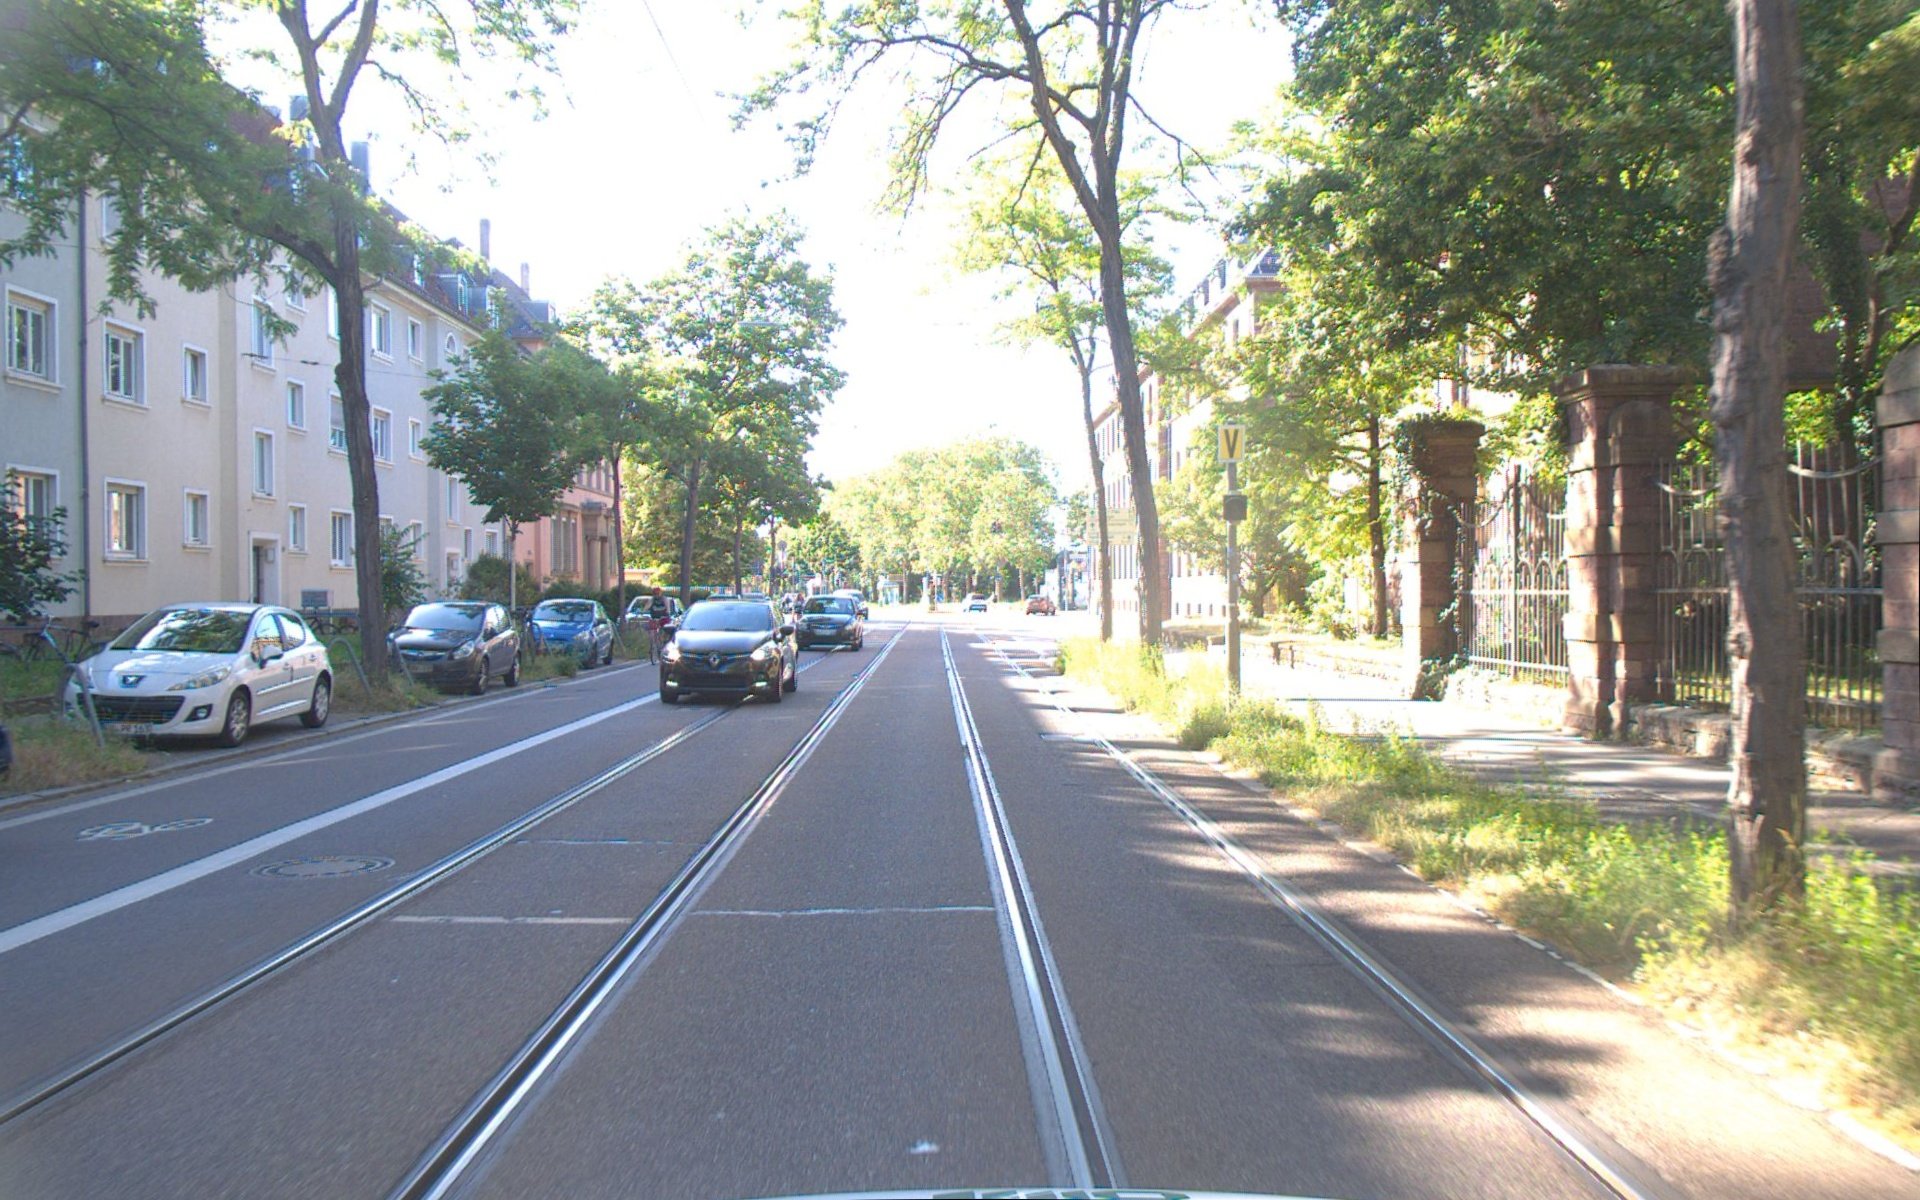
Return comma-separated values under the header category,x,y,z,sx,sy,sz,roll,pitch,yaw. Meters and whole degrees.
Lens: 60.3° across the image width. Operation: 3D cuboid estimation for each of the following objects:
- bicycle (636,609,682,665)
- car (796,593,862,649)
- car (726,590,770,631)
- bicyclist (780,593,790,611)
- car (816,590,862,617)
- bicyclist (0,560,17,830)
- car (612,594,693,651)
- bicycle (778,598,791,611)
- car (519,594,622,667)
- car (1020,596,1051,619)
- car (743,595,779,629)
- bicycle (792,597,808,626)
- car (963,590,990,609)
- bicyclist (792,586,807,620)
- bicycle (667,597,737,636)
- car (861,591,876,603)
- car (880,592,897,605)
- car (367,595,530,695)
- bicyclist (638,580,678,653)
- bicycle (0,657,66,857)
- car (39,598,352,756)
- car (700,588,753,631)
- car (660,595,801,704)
category,x,y,z,sx,sy,sz,roll,pitch,yaw
bicycle,-6.940,0.845,38.233,0.680,1.198,1.913,-3,0,-1
car,-3.613,0.545,46.269,1.665,1.497,4.070,0,0,-2
car,-9.454,0.435,73.938,1.711,1.689,4.386,2,0,-5
bicyclist,-14.764,0.167,139.513,0.737,1.530,0.960,0,0,-16
car,-6.518,0.195,88.898,1.779,1.411,4.424,0,0,-14
bicyclist,-6.241,0.602,9.867,0.613,1.667,0.940,-3,0,-1
car,-9.053,0.632,48.985,1.710,1.516,4.322,2,0,-2
bicycle,-14.779,0.396,139.567,0.737,1.106,2.167,0,0,-16
car,-8.725,0.647,37.287,1.529,1.482,3.928,2,0,-3
car,5.661,0.536,122.898,1.799,1.684,3.583,0,0,11
car,-9.493,0.575,78.996,1.551,1.514,3.609,2,0,-5
bicycle,-7.181,0.498,74.242,0.547,1.219,2.290,-4,0,-4
car,1.450,-0.062,147.210,1.905,1.638,3.995,0,0,-6
bicyclist,-7.202,0.137,74.223,0.547,1.482,0.869,-4,0,-4
bicycle,-8.725,0.542,55.906,2.236,1.219,0.560,2,1,6
car,-12.313,-0.445,222.434,1.905,1.638,3.995,0,0,-6
car,-8.978,-0.182,207.037,1.905,1.638,3.995,0,0,-6
car,-8.543,0.710,27.953,1.653,1.511,3.758,2,0,-2
bicyclist,-6.968,0.384,38.221,0.695,1.635,0.865,-3,0,-1
bicycle,-6.220,0.998,9.947,0.614,1.198,1.913,-3,0,-1
car,-8.475,0.774,18.758,1.668,1.511,4.078,2,0,-1
car,-9.202,0.360,65.512,1.711,1.597,4.067,2,0,-4
car,-3.319,0.661,24.555,1.665,1.464,4.070,0,0,-2
